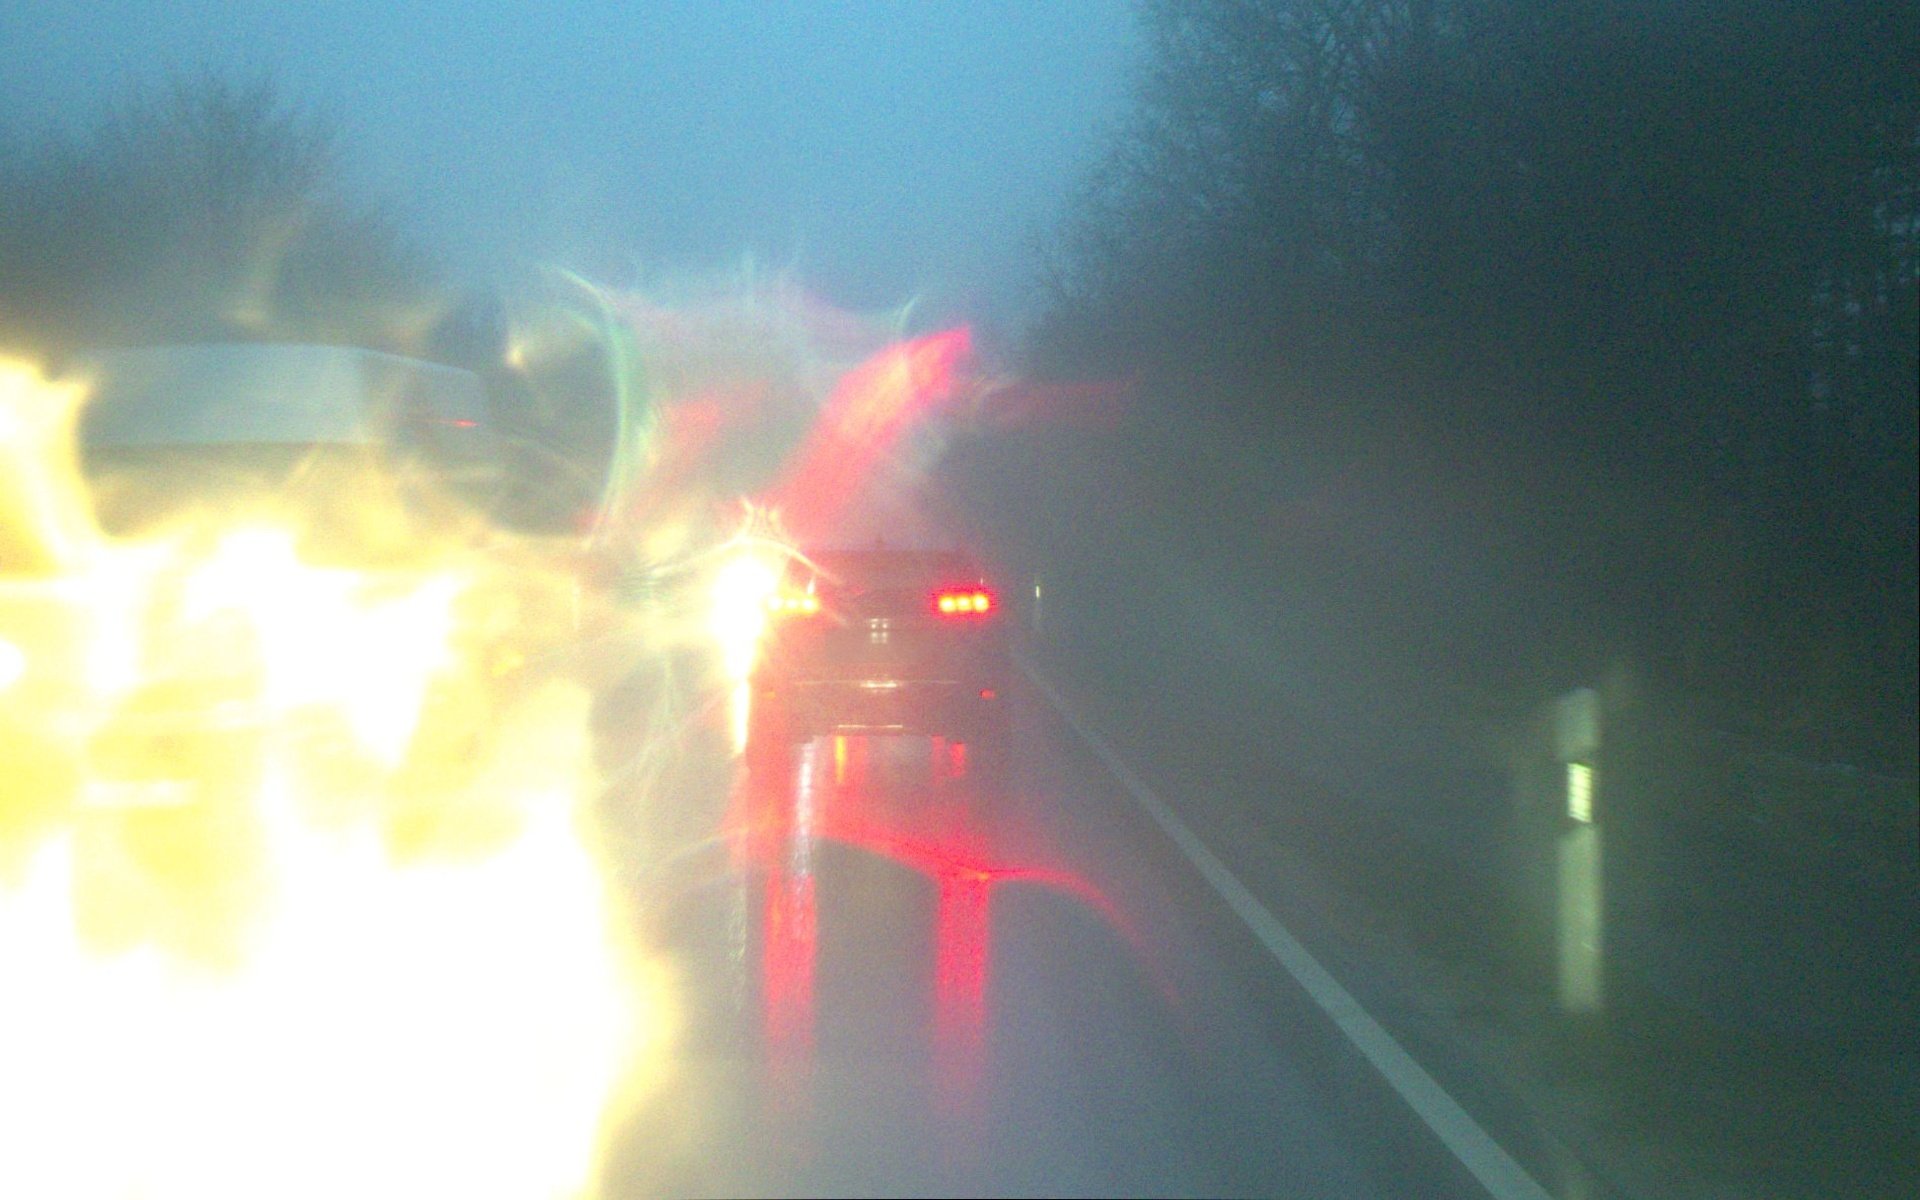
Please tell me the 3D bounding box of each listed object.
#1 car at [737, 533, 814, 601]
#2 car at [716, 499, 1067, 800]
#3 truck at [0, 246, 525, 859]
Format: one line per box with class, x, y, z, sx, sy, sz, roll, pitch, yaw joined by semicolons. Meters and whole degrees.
car;-4.541;-0.837;85.057;1.694;1.555;4.129;1;2;-1
car;-0.482;0.285;24.230;2.198;1.871;4.827;1;1;-1
truck;-3.862;-0.275;19.085;2.103;2.762;6.872;1;1;-1
